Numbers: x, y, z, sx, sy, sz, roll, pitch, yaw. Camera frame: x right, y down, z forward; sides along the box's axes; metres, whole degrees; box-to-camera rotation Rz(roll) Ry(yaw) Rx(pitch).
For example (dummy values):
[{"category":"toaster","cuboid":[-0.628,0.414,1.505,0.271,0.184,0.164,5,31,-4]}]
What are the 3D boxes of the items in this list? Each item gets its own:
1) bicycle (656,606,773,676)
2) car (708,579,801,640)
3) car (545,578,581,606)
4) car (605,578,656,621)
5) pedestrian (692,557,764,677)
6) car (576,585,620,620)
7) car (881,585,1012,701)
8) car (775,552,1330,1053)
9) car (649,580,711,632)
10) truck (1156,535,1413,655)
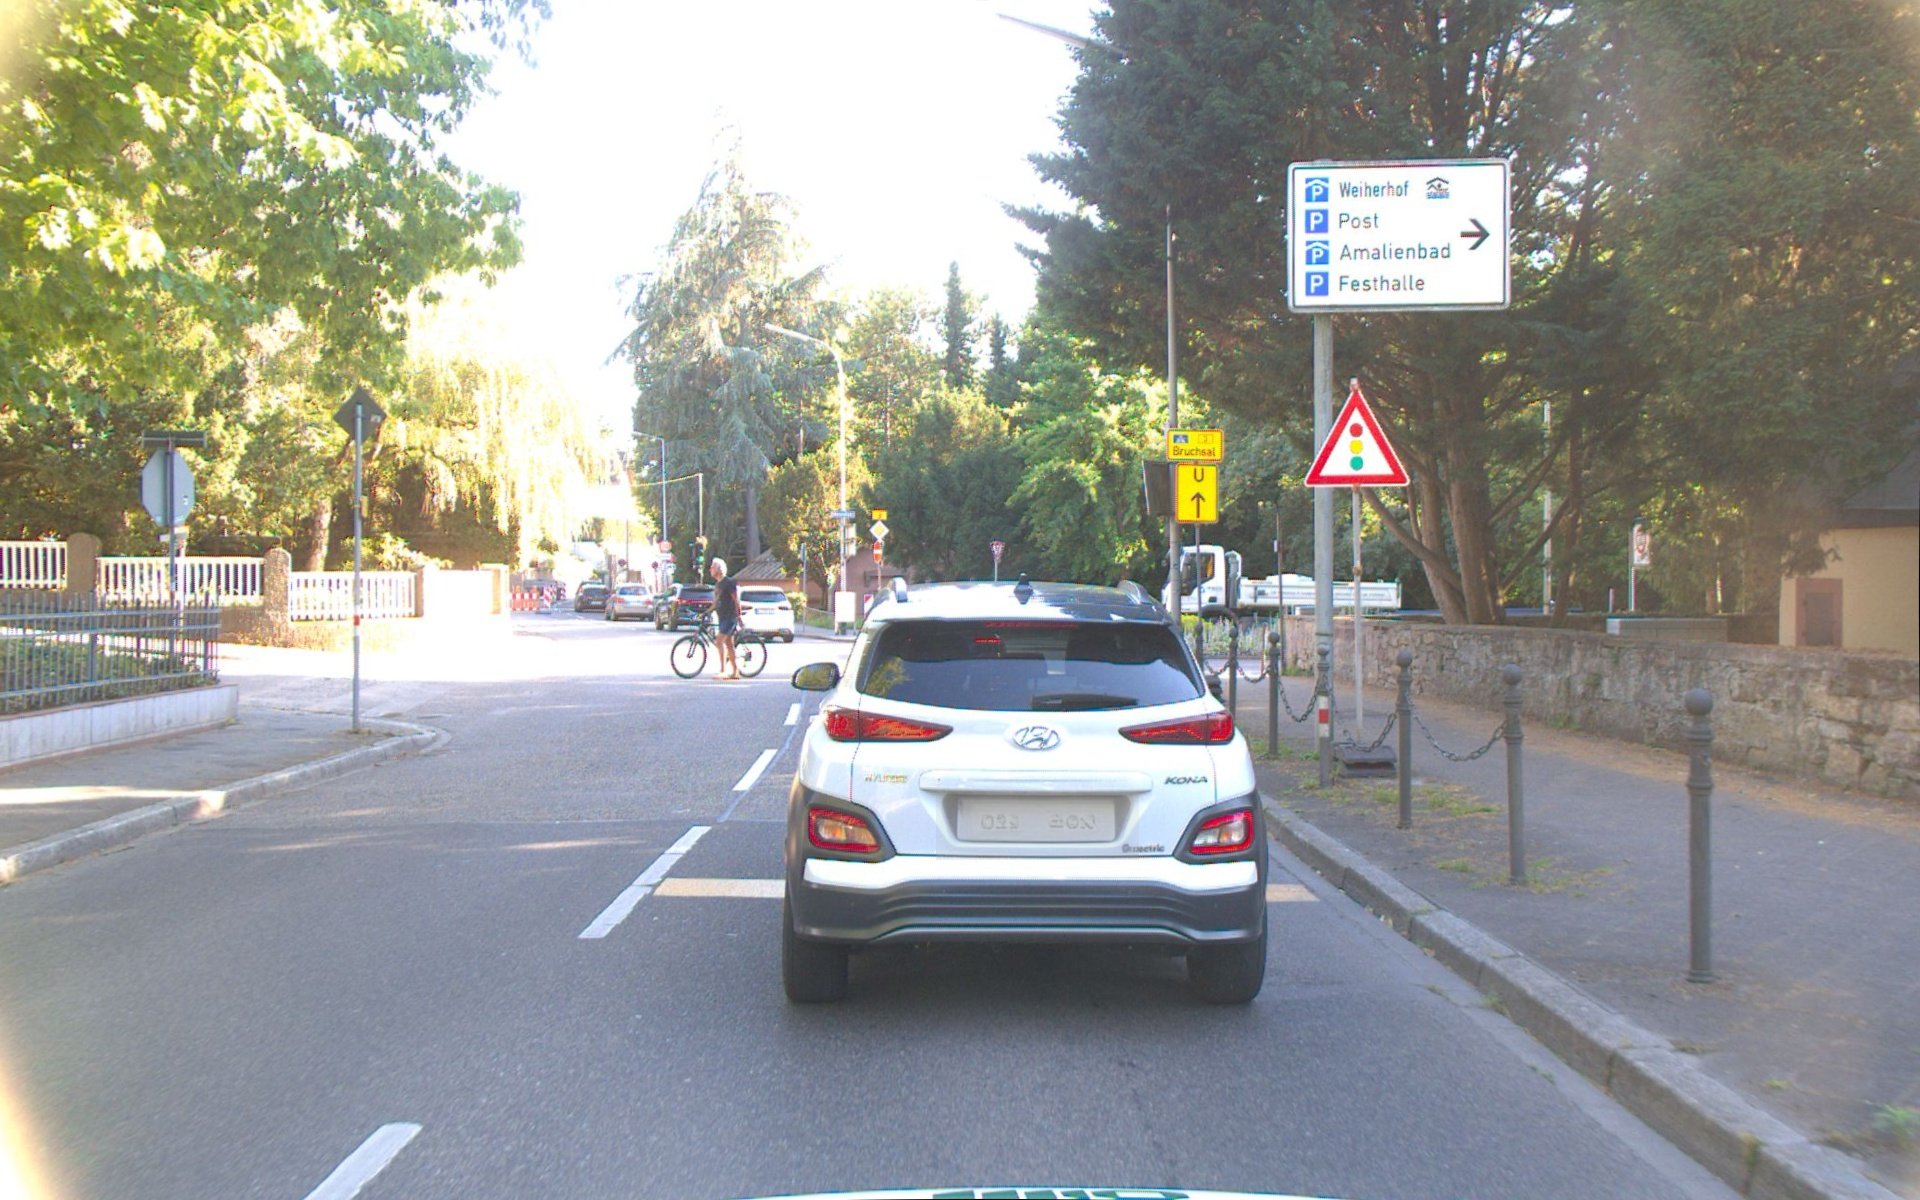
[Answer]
[{"category":"bicycle","cuboid":[-3.927,0.657,26.509,1.799,1.061,0.554,1,2,-38]},{"category":"car","cuboid":[-5.725,0.240,45.746,1.778,1.564,3.979,2,0,-19]},{"category":"car","cuboid":[-25.305,-0.544,105.308,1.804,1.691,3.979,2,0,-19]},{"category":"car","cuboid":[-14.362,-0.040,71.989,1.802,1.771,3.982,2,0,-16]},{"category":"pedestrian","cuboid":[-3.654,0.264,26.094,0.934,1.858,0.547,1,1,-39]},{"category":"car","cuboid":[-18.569,0.112,84.711,1.803,1.691,3.980,2,0,-18]},{"category":"car","cuboid":[-0.203,0.547,23.710,1.673,1.459,4.364,2,0,-1]},{"category":"car","cuboid":[0.269,0.650,7.427,1.783,1.601,3.999,2,0,-1]},{"category":"car","cuboid":[-9.671,0.183,56.991,1.800,1.691,3.986,2,0,-14]},{"category":"truck","cuboid":[8.578,-0.139,44.285,6.449,2.945,2.434,2,0,4]}]
